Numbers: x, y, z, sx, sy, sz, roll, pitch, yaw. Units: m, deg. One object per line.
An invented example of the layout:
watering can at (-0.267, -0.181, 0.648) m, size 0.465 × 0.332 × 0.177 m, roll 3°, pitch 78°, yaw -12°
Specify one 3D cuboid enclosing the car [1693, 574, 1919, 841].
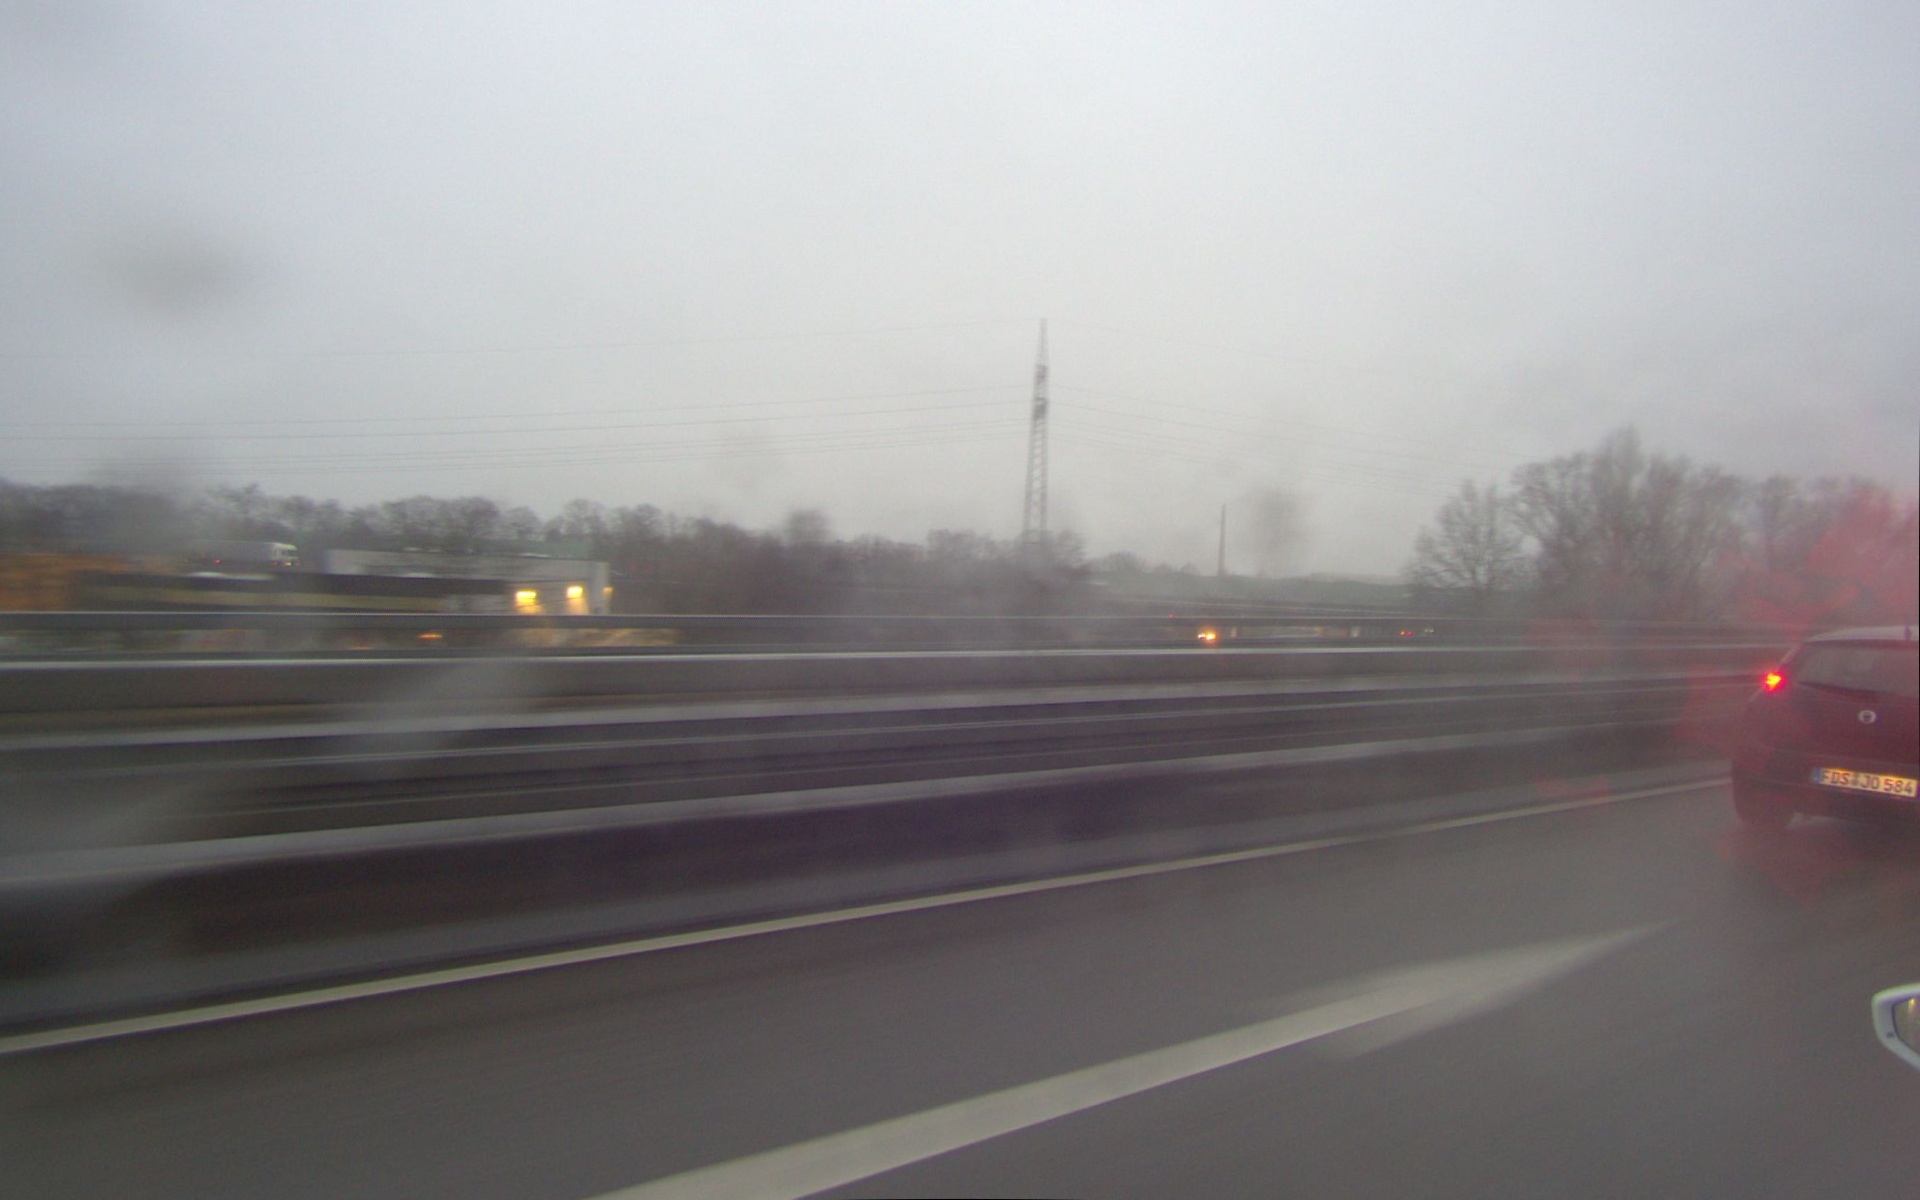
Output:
car at (7.196, 0.733, 7.097) m, size 3.994 × 1.553 × 1.723 m, roll 4°, pitch -1°, yaw -29°
